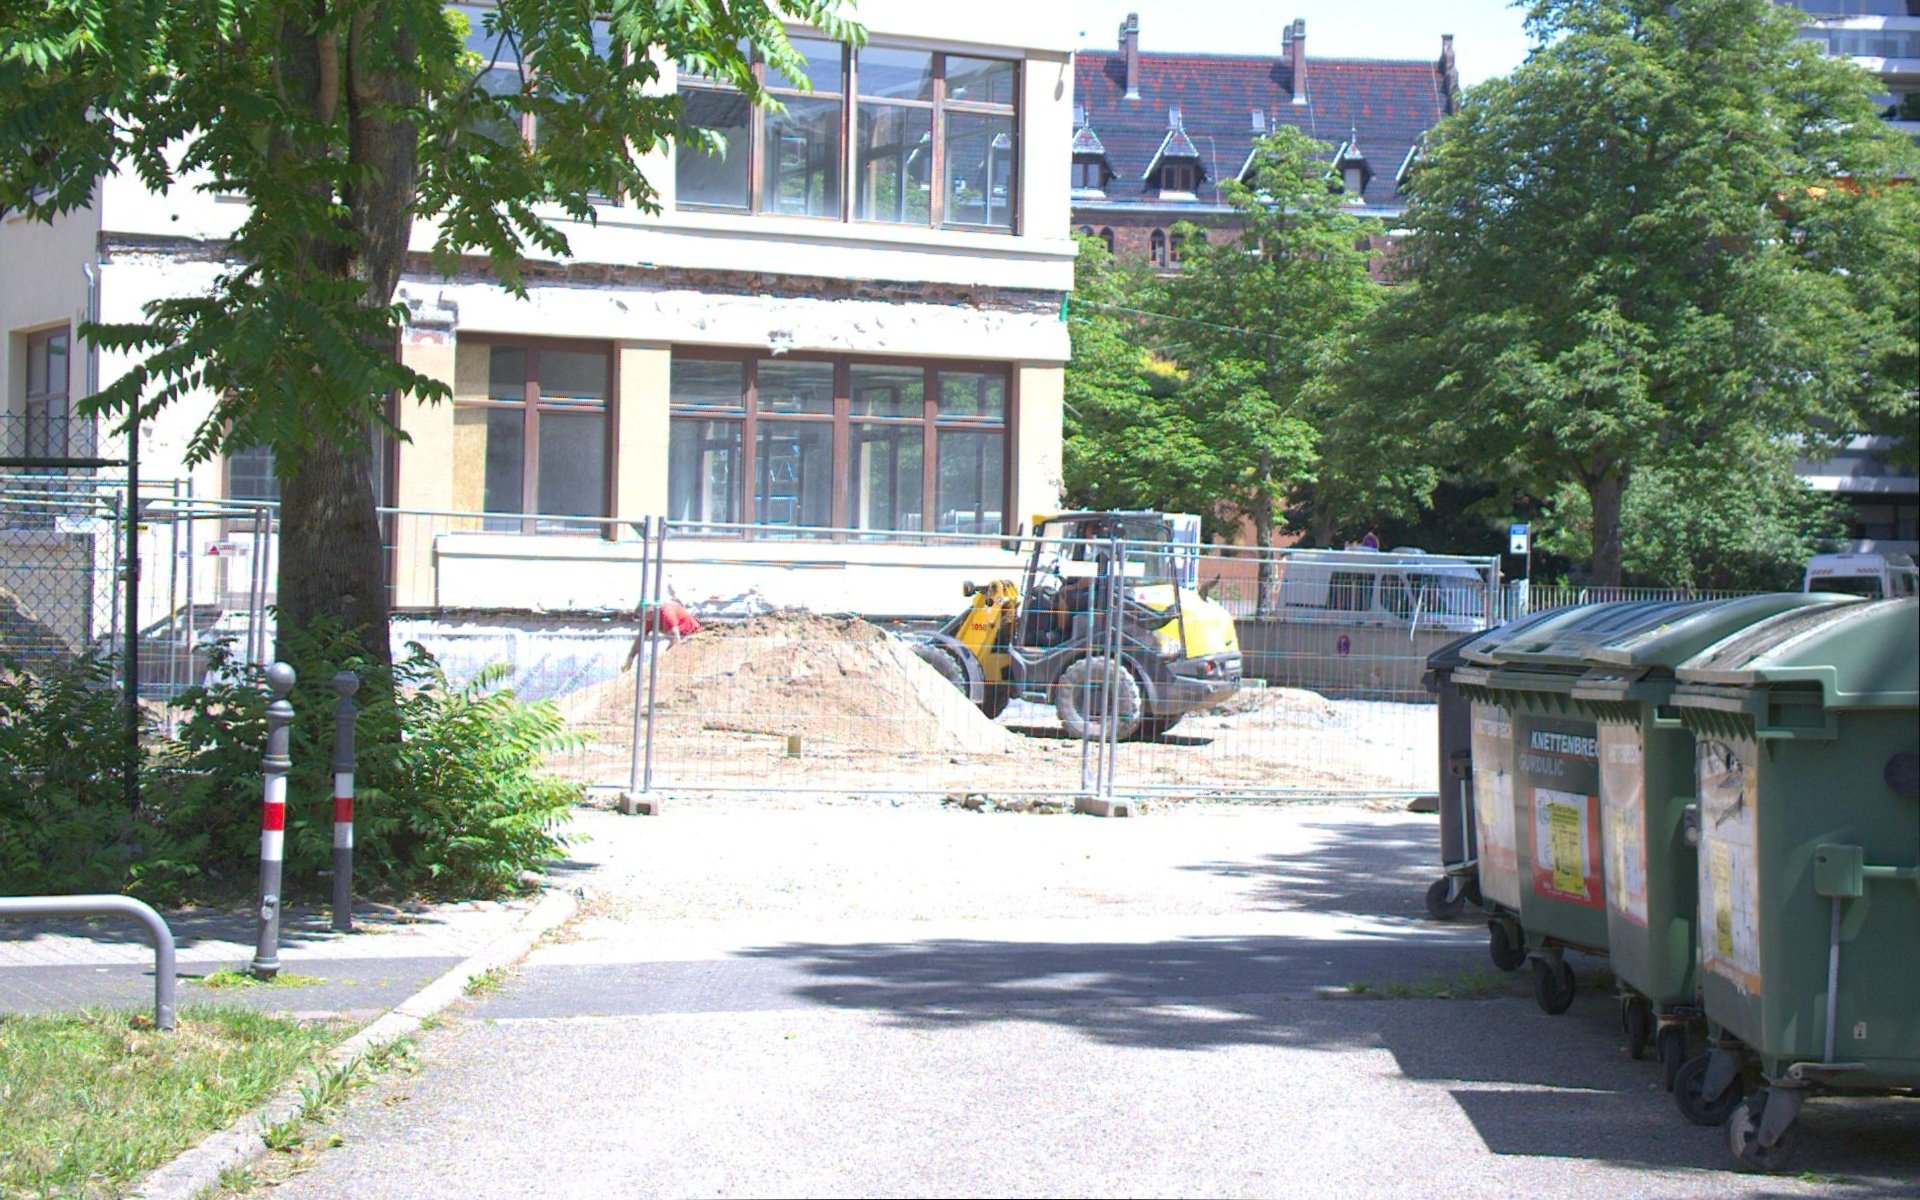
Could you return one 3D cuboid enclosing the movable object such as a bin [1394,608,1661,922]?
[{"bbox_3d":[2.753,0.777,16.840,1.075,1.453,1.377,1,0,1],"label":"movable object such as a bin"}]

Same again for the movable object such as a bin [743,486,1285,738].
[{"bbox_3d":[0.577,0.094,38.035,5.411,2.456,2.364,3,1,28],"label":"movable object such as a bin"}]

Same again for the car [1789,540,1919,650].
[{"bbox_3d":[19.298,-0.093,73.882,2.187,2.250,4.863,1,0,22],"label":"car"}]

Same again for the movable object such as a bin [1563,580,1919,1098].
[{"bbox_3d":[2.490,0.680,10.442,1.075,1.453,1.377,1,0,1],"label":"movable object such as a bin"}]

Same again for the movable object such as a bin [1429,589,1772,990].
[{"bbox_3d":[2.450,0.696,13.337,1.075,1.453,1.377,1,0,1],"label":"movable object such as a bin"}]

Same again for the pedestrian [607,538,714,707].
[{"bbox_3d":[-3.343,0.248,38.438,0.914,1.840,0.985,1,0,12],"label":"pedestrian"}]

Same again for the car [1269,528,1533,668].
[{"bbox_3d":[7.882,-0.051,62.040,1.993,2.408,5.244,1,0,-29],"label":"car"}]

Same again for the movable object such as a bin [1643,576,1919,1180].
[{"bbox_3d":[2.463,0.678,8.999,1.075,1.453,1.377,1,0,1],"label":"movable object such as a bin"}]

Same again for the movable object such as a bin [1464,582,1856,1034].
[{"bbox_3d":[2.387,0.679,11.915,1.075,1.453,1.377,1,0,1],"label":"movable object such as a bin"}]
